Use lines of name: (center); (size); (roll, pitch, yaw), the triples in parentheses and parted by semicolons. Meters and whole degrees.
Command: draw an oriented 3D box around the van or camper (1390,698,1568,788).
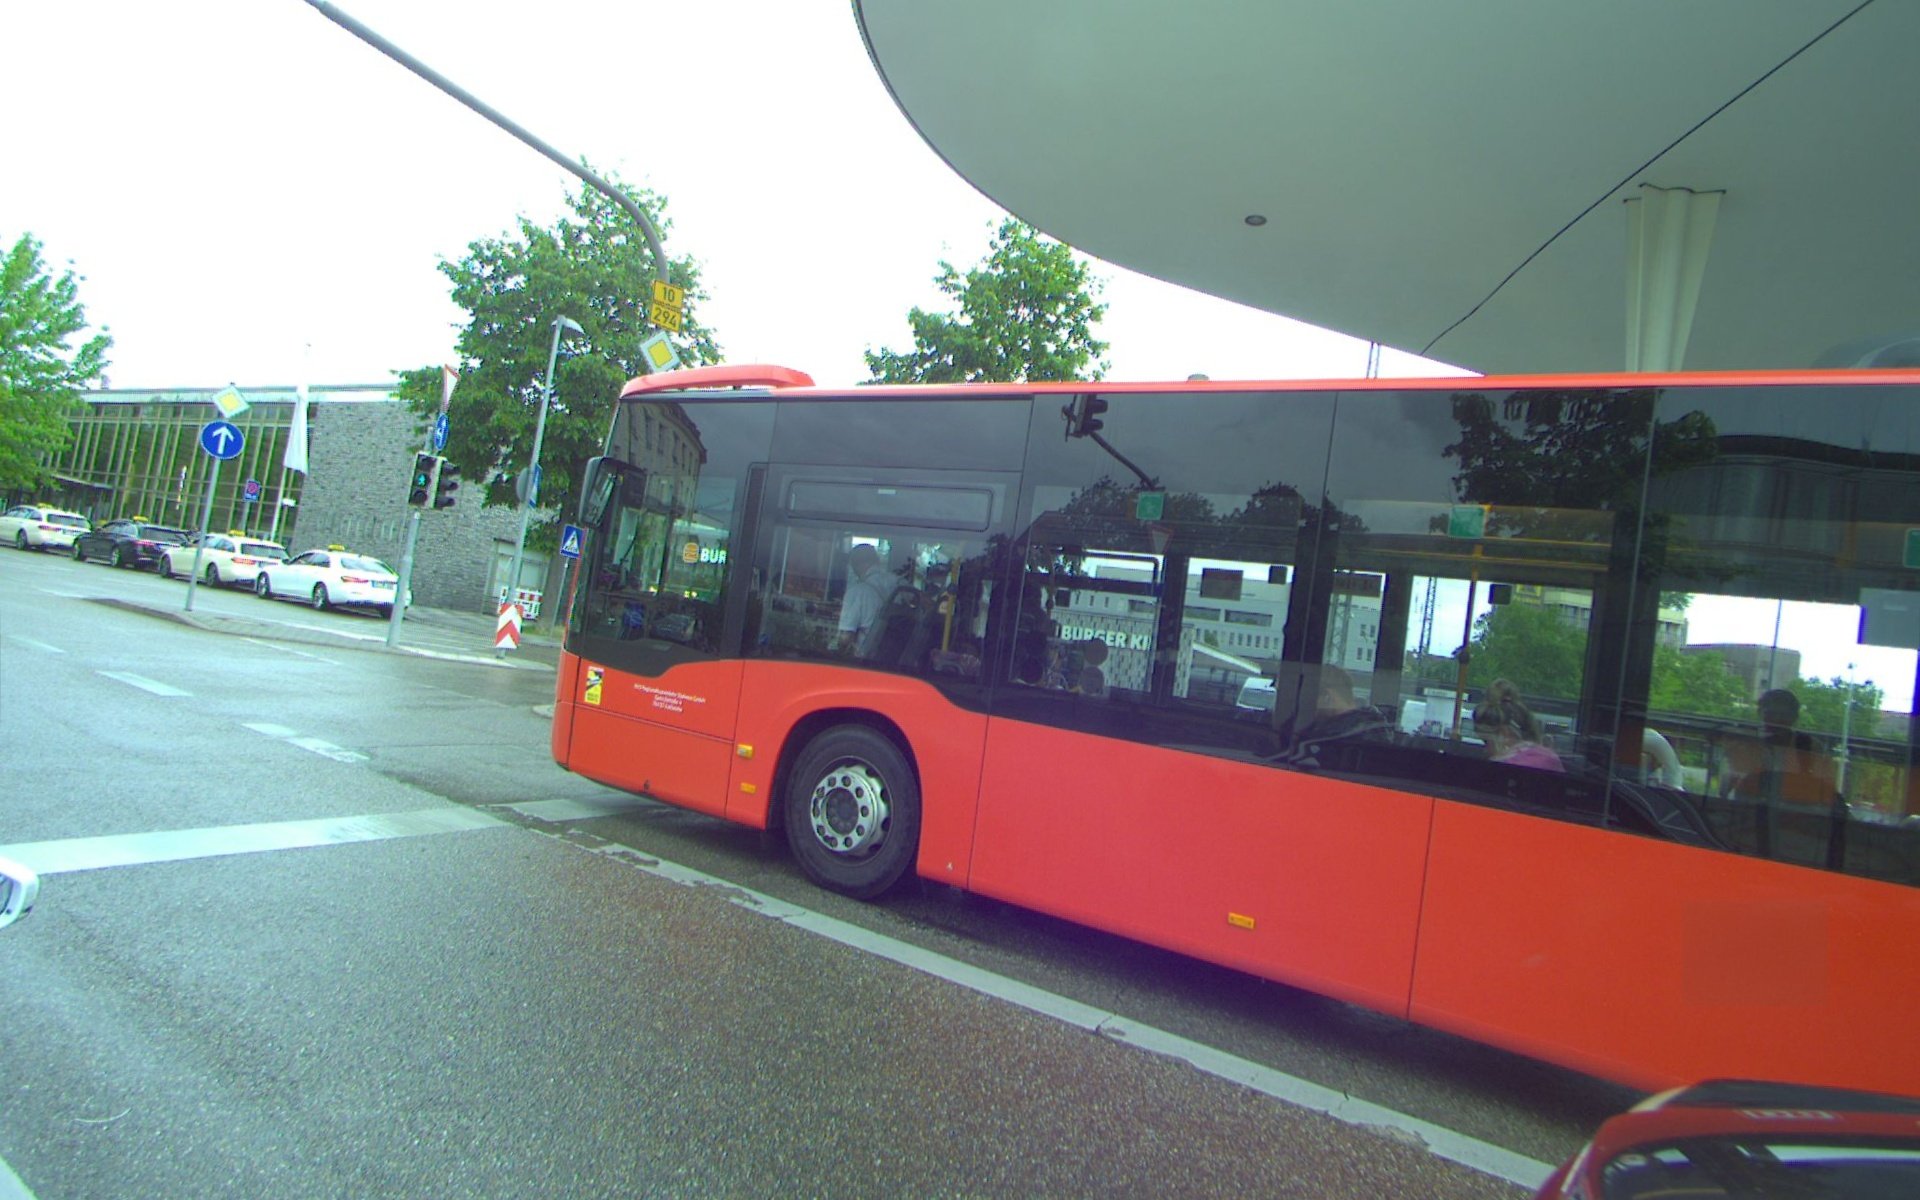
van or camper: (20.326, 5.541, 39.544); (5.873, 2.491, 2.108); (7, -2, 32)

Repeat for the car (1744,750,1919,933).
car: (11.215, 2.805, 10.565); (4.360, 1.666, 1.806); (7, -4, 32)

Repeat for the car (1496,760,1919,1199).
car: (2.860, 1.241, 0.736); (4.361, 1.495, 1.751); (6, -4, 31)

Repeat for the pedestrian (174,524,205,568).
pedestrian: (-31.654, -2.211, 41.318); (0.703, 1.665, 0.565); (7, -1, 27)

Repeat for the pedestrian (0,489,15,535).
pedestrian: (-52.553, -4.853, 55.028); (0.848, 2.439, 0.844); (7, -1, 34)

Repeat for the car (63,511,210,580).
car: (-25.816, -1.730, 31.513); (4.661, 1.542, 1.918); (7, -2, 30)

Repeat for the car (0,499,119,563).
car: (-31.441, -2.415, 34.543); (4.736, 1.618, 2.000); (7, -2, 25)

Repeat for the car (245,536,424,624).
car: (-15.864, -0.531, 25.461); (4.538, 1.608, 1.779); (7, -2, 30)

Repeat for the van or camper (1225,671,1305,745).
van or camper: (12.528, 4.398, 41.014); (2.072, 2.491, 5.975); (7, -3, 25)

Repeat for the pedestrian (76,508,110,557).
pedestrian: (-33.013, -2.570, 38.319); (0.703, 1.729, 0.565); (7, -1, 27)

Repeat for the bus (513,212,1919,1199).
bus: (2.147, 0.322, 5.294); (10.025, 3.210, 2.749); (7, -2, 32)

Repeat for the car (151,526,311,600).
car: (-20.585, -1.052, 28.358); (4.588, 1.468, 1.851); (7, -2, 30)

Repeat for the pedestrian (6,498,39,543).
pedestrian: (-45.627, -3.871, 48.952); (0.814, 2.037, 0.771); (7, -1, 30)
